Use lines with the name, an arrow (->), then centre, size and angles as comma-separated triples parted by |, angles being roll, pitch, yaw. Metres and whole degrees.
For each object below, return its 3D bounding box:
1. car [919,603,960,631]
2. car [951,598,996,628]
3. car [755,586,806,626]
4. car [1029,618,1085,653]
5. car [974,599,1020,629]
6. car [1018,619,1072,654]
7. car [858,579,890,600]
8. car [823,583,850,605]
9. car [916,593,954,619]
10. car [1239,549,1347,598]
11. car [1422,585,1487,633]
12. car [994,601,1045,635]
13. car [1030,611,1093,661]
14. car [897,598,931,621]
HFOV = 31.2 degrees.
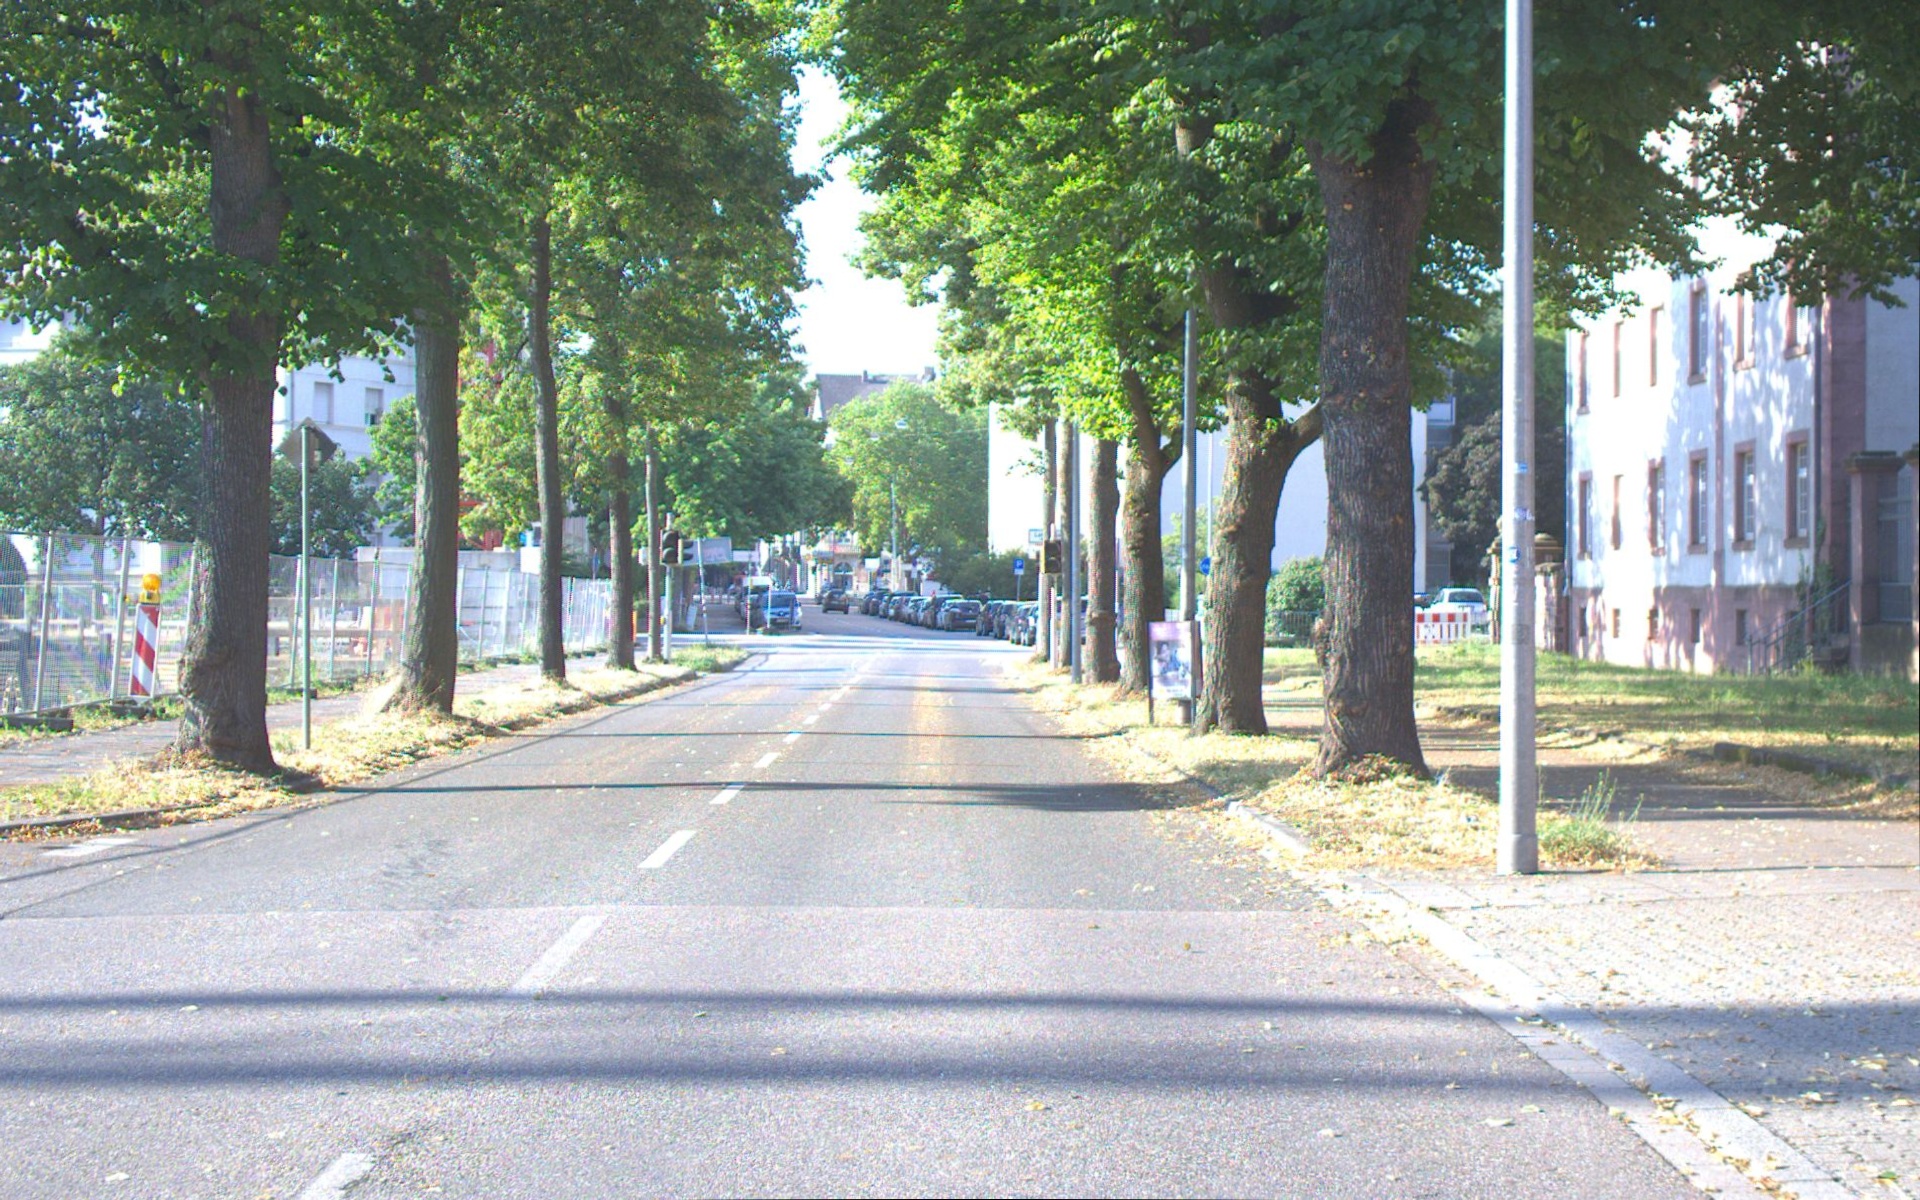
car -> -1.041, 0.866, 172.572 | 1.841, 1.381, 4.000 | 0, 0, -4
car -> 0.608, 0.588, 161.392 | 1.841, 1.381, 4.001 | 0, 0, -4
car -> -7.761, 0.270, 148.634 | 1.993, 1.682, 4.000 | 0, -1, -6
car -> 3.386, 1.239, 120.963 | 1.779, 1.223, 4.000 | 0, 0, -1
car -> 1.538, 0.585, 143.656 | 1.841, 1.257, 4.000 | 0, 0, -1
car -> 3.108, 1.336, 126.128 | 1.841, 1.257, 4.000 | 0, 0, -1
car -> -5.884, -0.720, 234.475 | 1.841, 1.381, 4.001 | 0, 0, -6
car -> -8.620, -0.388, 239.452 | 1.714, 1.481, 4.000 | 0, -1, -4
car -> -1.359, 0.310, 184.468 | 1.841, 1.381, 4.000 | 0, 0, -4
car -> 12.969, -1.019, 133.913 | 3.987, 1.722, 1.773 | 2, 0, 1
car -> 17.392, 0.332, 121.123 | 1.812, 1.554, 3.625 | 2, -1, 2
car -> 2.368, 0.703, 136.561 | 1.841, 1.257, 4.000 | -3, 0, -1
car -> 3.209, 1.135, 109.391 | 1.841, 1.569, 4.000 | 0, 0, -1
car -> -2.769, 0.567, 205.163 | 1.841, 1.381, 4.000 | 0, 0, -4
